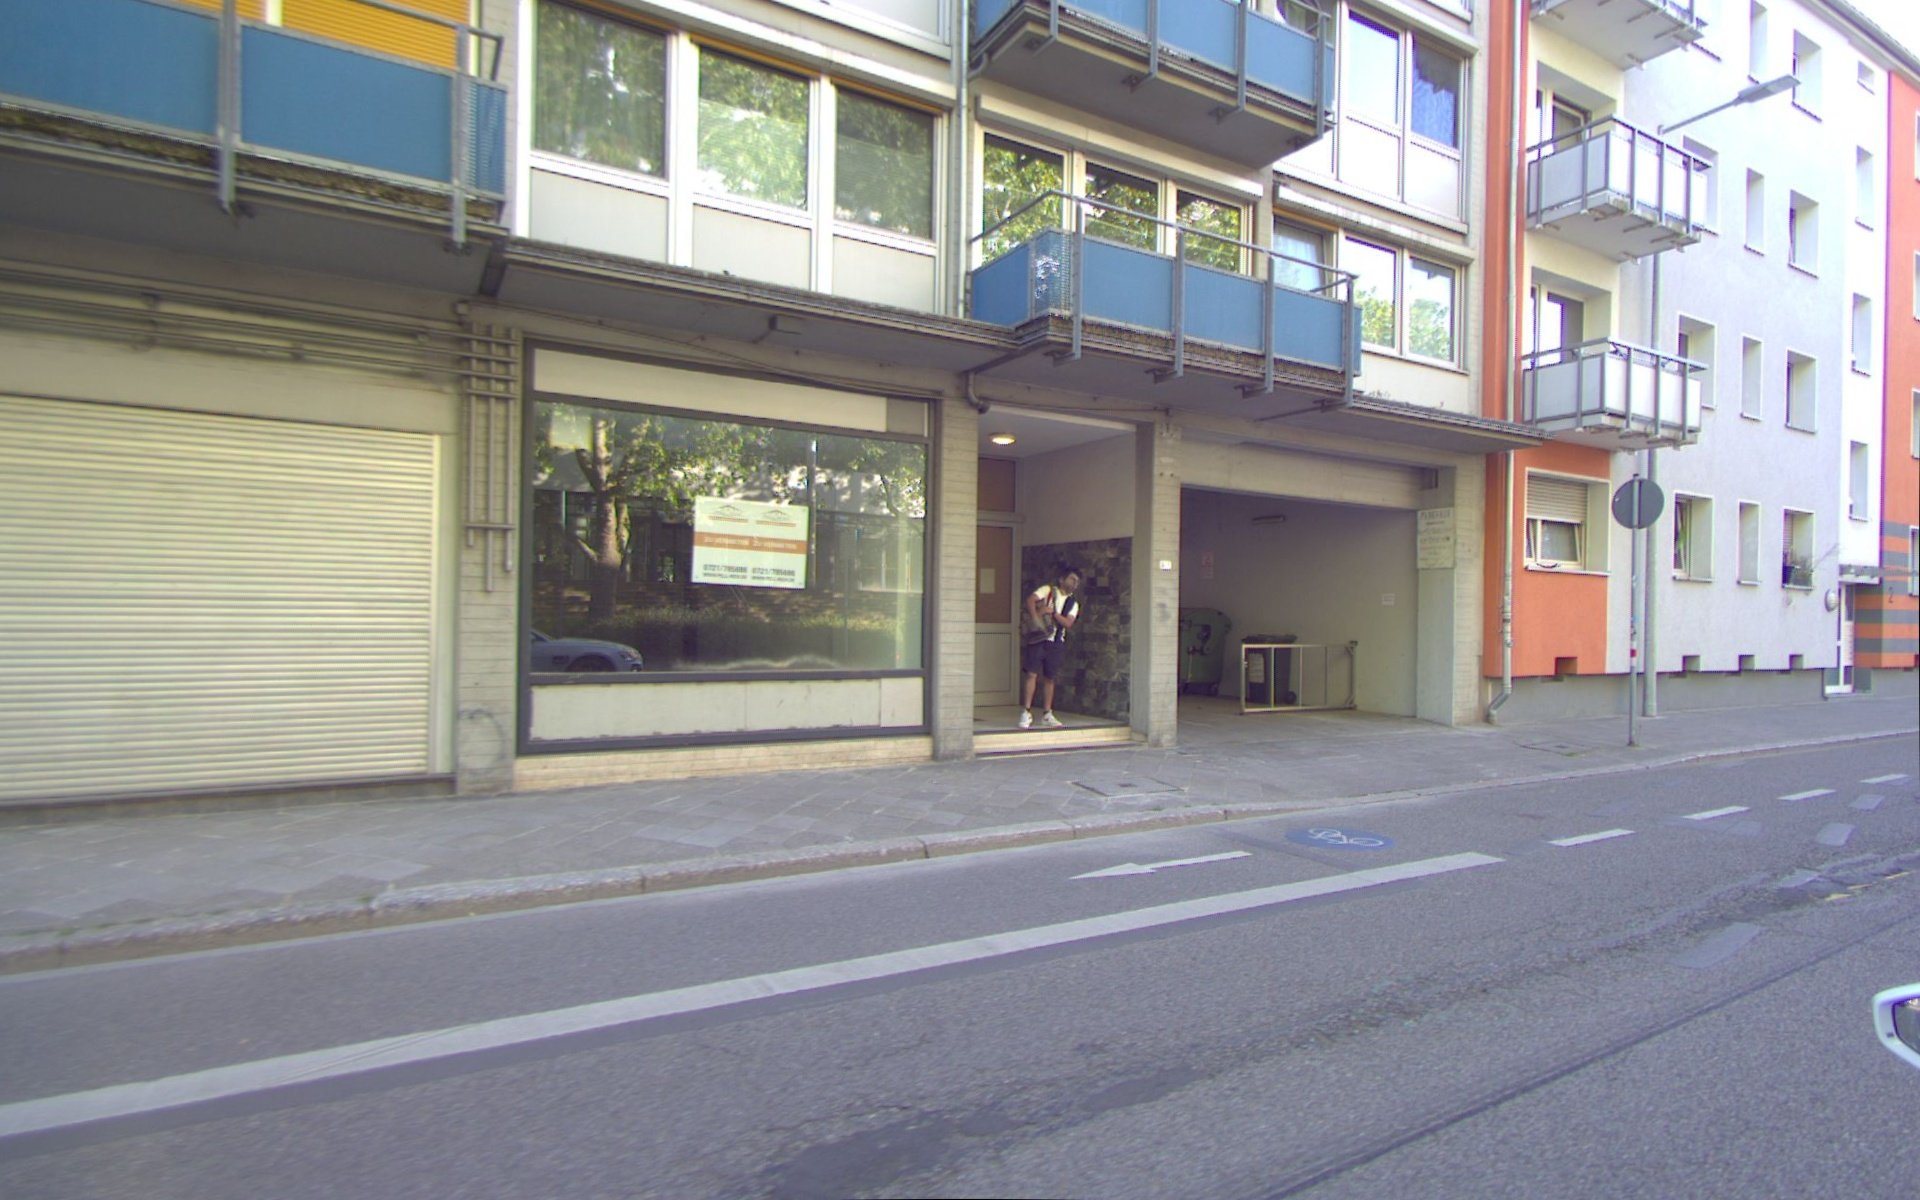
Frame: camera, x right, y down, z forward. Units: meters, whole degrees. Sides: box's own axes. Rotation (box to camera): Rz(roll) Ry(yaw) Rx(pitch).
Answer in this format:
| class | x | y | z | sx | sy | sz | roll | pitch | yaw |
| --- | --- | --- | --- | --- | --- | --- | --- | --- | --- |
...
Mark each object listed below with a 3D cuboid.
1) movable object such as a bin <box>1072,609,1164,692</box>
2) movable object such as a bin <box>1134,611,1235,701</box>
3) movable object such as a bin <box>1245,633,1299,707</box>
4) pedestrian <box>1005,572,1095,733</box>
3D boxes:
| class | x | y | z | sx | sy | sz | roll | pitch | yaw |
| --- | --- | --- | --- | --- | --- | --- | --- | --- | --- |
| movable object such as a bin | 2.854 | 0.894 | 18.251 | 1.067 | 1.433 | 1.312 | 1 | -1 | -30 |
| movable object such as a bin | 3.760 | 0.908 | 16.885 | 1.067 | 1.433 | 1.312 | 1 | -1 | -30 |
| movable object such as a bin | 4.824 | 1.071 | 15.520 | 0.646 | 1.102 | 0.487 | 1 | 0 | -30 |
| pedestrian | 0.926 | 0.528 | 10.357 | 0.747 | 1.600 | 0.511 | 1 | 0 | -30 |
